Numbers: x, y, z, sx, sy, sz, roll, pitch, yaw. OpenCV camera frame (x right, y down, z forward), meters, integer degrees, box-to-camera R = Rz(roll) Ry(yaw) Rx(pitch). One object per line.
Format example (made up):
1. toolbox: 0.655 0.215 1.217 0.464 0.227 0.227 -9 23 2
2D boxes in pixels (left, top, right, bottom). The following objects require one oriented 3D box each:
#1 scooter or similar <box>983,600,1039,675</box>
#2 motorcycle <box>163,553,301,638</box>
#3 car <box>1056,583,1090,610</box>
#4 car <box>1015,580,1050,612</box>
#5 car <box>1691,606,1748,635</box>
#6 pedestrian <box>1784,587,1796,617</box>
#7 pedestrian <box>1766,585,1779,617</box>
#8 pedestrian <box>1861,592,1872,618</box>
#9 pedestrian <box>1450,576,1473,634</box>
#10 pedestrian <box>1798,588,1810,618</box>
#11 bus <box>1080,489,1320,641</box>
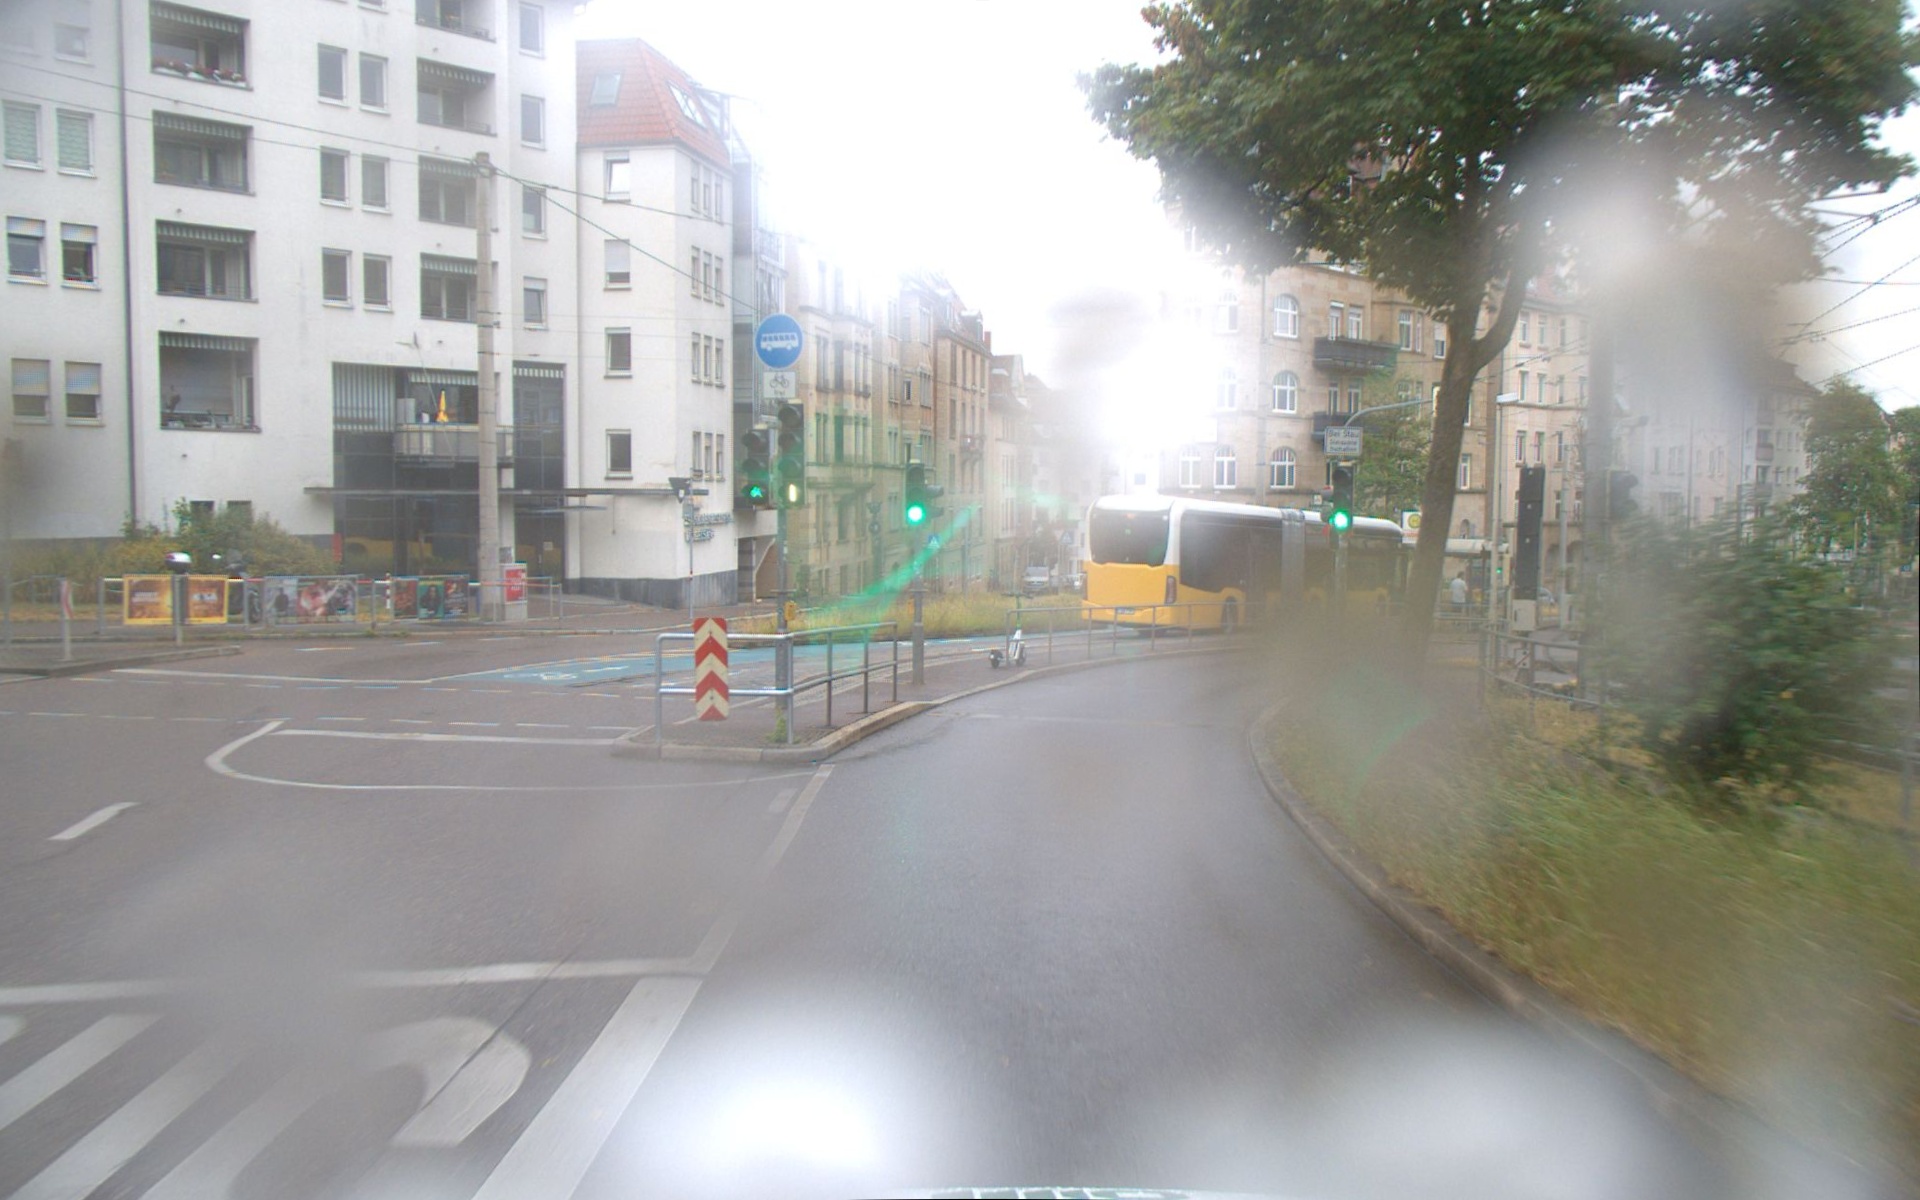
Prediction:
1. scooter or similar: 0.820 0.579 26.273 0.424 1.133 1.606 2 0 17
2. motorcycle: -14.354 -0.081 32.674 0.685 1.577 2.433 5 2 34
3. car: 9.456 -0.288 137.796 2.092 2.174 4.861 1 0 12
4. car: 5.039 -0.259 115.484 2.094 2.174 4.856 2 0 0
5. car: 50.253 1.367 109.380 1.966 1.762 4.781 0 -1 43
6. pedestrian: 51.929 0.133 103.456 0.508 1.870 0.758 -1 -2 41
7. pedestrian: 48.946 0.071 99.619 0.552 1.882 0.595 -1 -2 41
8. pedestrian: 63.137 0.356 115.148 0.542 1.772 0.610 -1 -2 41
9. pedestrian: 15.457 0.156 50.971 0.565 1.783 0.542 1 0 30
10. pedestrian: 54.185 0.201 106.160 0.508 1.870 0.758 -1 -2 41
11. bus: 6.434 -0.775 42.746 2.544 3.530 9.081 1 0 33
